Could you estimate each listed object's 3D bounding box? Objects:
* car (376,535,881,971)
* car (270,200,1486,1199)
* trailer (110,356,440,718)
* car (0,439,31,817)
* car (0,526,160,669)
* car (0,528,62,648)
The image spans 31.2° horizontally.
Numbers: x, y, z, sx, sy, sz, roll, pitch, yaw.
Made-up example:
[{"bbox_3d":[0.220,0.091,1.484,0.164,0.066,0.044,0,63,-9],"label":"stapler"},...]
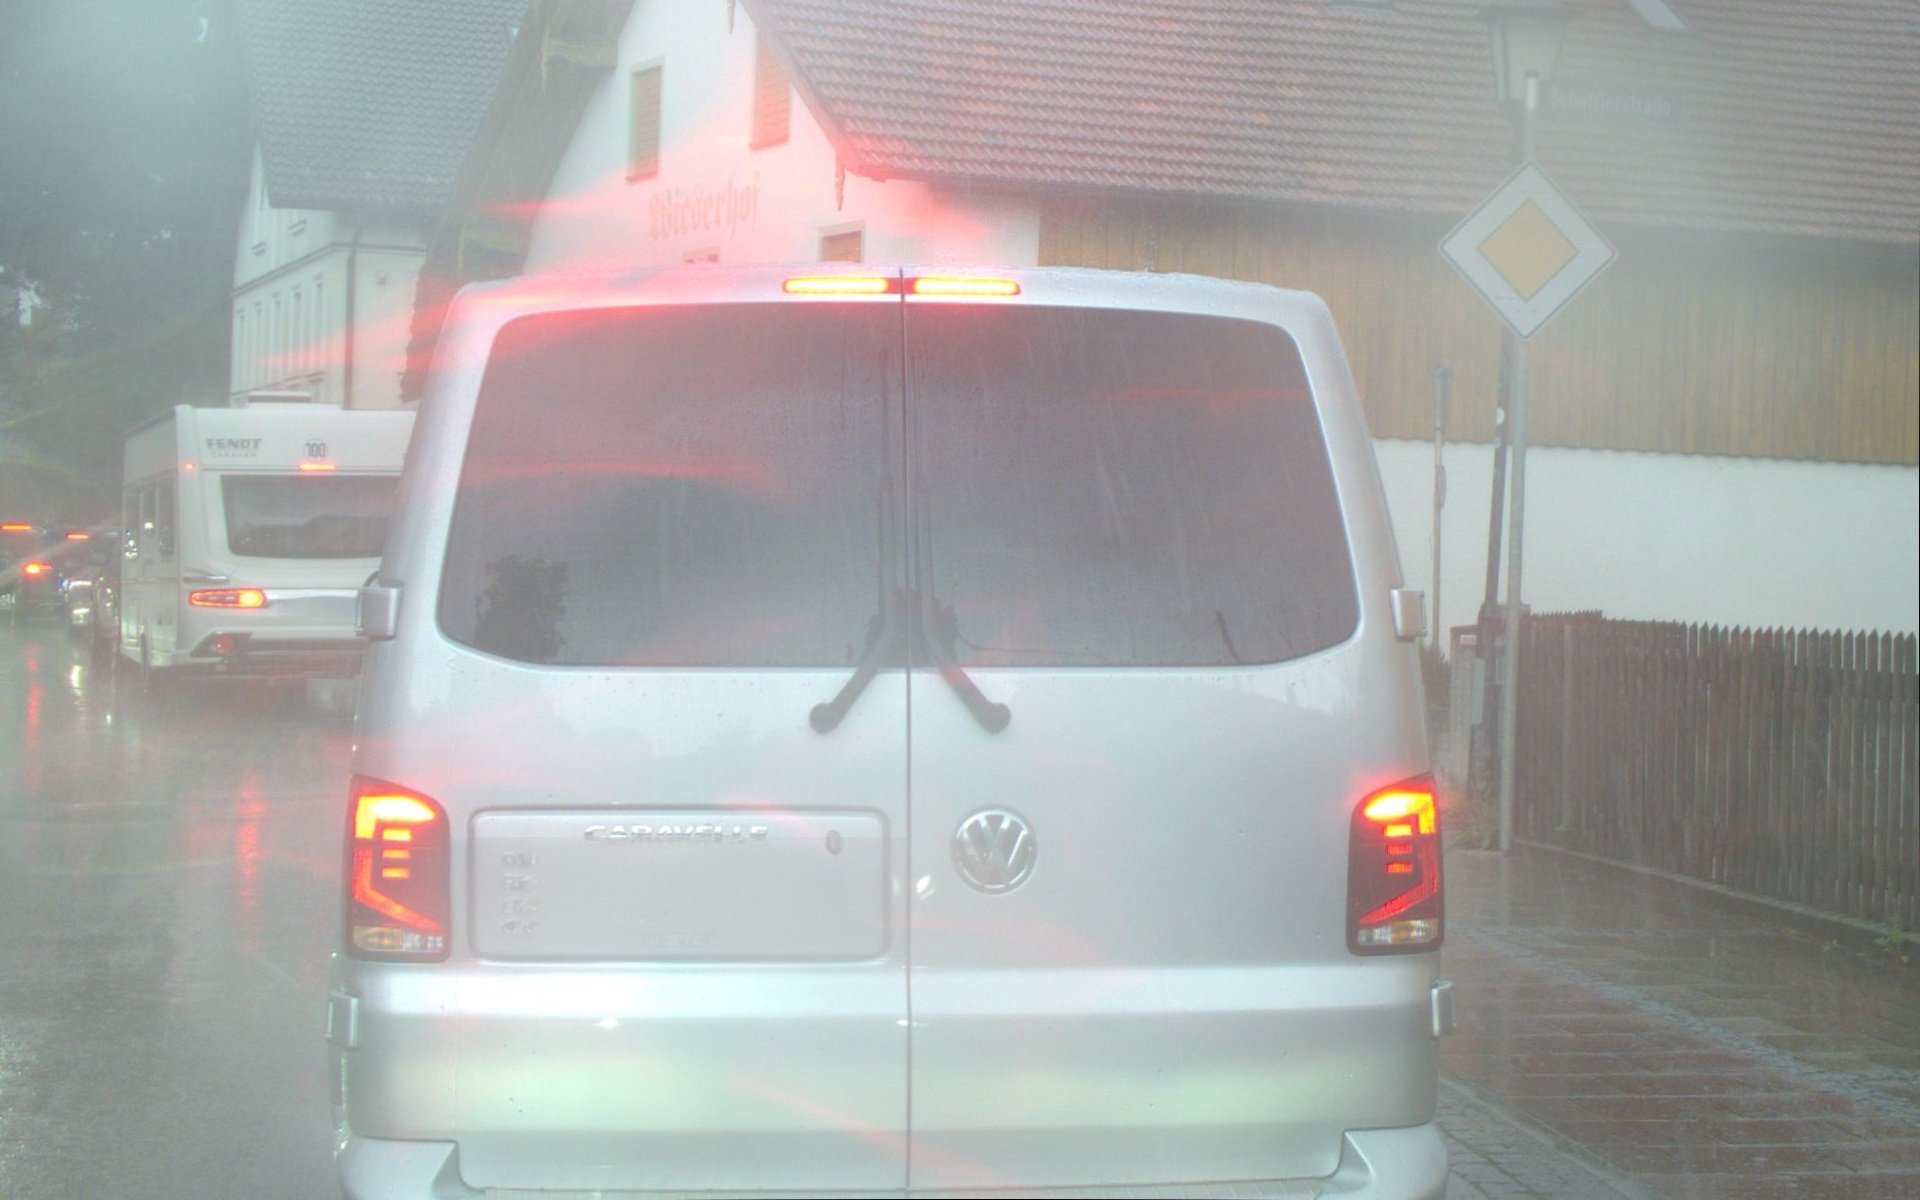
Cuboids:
[{"bbox_3d":[-1.645,0.532,15.470,1.708,1.578,4.687,-1,2,-12],"label":"car"},{"bbox_3d":[-0.160,0.362,7.580,1.776,1.956,5.074,0,1,-1],"label":"car"},{"bbox_3d":[-6.257,-0.551,30.779,2.270,2.894,6.134,0,1,-17],"label":"trailer"},{"bbox_3d":[-5.892,0.147,17.662,1.850,1.965,4.703,0,0,-11],"label":"car"},{"bbox_3d":[-13.408,-0.083,51.336,2.168,1.892,5.016,2,1,-20],"label":"car"},{"bbox_3d":[-16.922,-0.270,59.438,2.168,1.892,5.016,2,1,-20],"label":"car"}]
